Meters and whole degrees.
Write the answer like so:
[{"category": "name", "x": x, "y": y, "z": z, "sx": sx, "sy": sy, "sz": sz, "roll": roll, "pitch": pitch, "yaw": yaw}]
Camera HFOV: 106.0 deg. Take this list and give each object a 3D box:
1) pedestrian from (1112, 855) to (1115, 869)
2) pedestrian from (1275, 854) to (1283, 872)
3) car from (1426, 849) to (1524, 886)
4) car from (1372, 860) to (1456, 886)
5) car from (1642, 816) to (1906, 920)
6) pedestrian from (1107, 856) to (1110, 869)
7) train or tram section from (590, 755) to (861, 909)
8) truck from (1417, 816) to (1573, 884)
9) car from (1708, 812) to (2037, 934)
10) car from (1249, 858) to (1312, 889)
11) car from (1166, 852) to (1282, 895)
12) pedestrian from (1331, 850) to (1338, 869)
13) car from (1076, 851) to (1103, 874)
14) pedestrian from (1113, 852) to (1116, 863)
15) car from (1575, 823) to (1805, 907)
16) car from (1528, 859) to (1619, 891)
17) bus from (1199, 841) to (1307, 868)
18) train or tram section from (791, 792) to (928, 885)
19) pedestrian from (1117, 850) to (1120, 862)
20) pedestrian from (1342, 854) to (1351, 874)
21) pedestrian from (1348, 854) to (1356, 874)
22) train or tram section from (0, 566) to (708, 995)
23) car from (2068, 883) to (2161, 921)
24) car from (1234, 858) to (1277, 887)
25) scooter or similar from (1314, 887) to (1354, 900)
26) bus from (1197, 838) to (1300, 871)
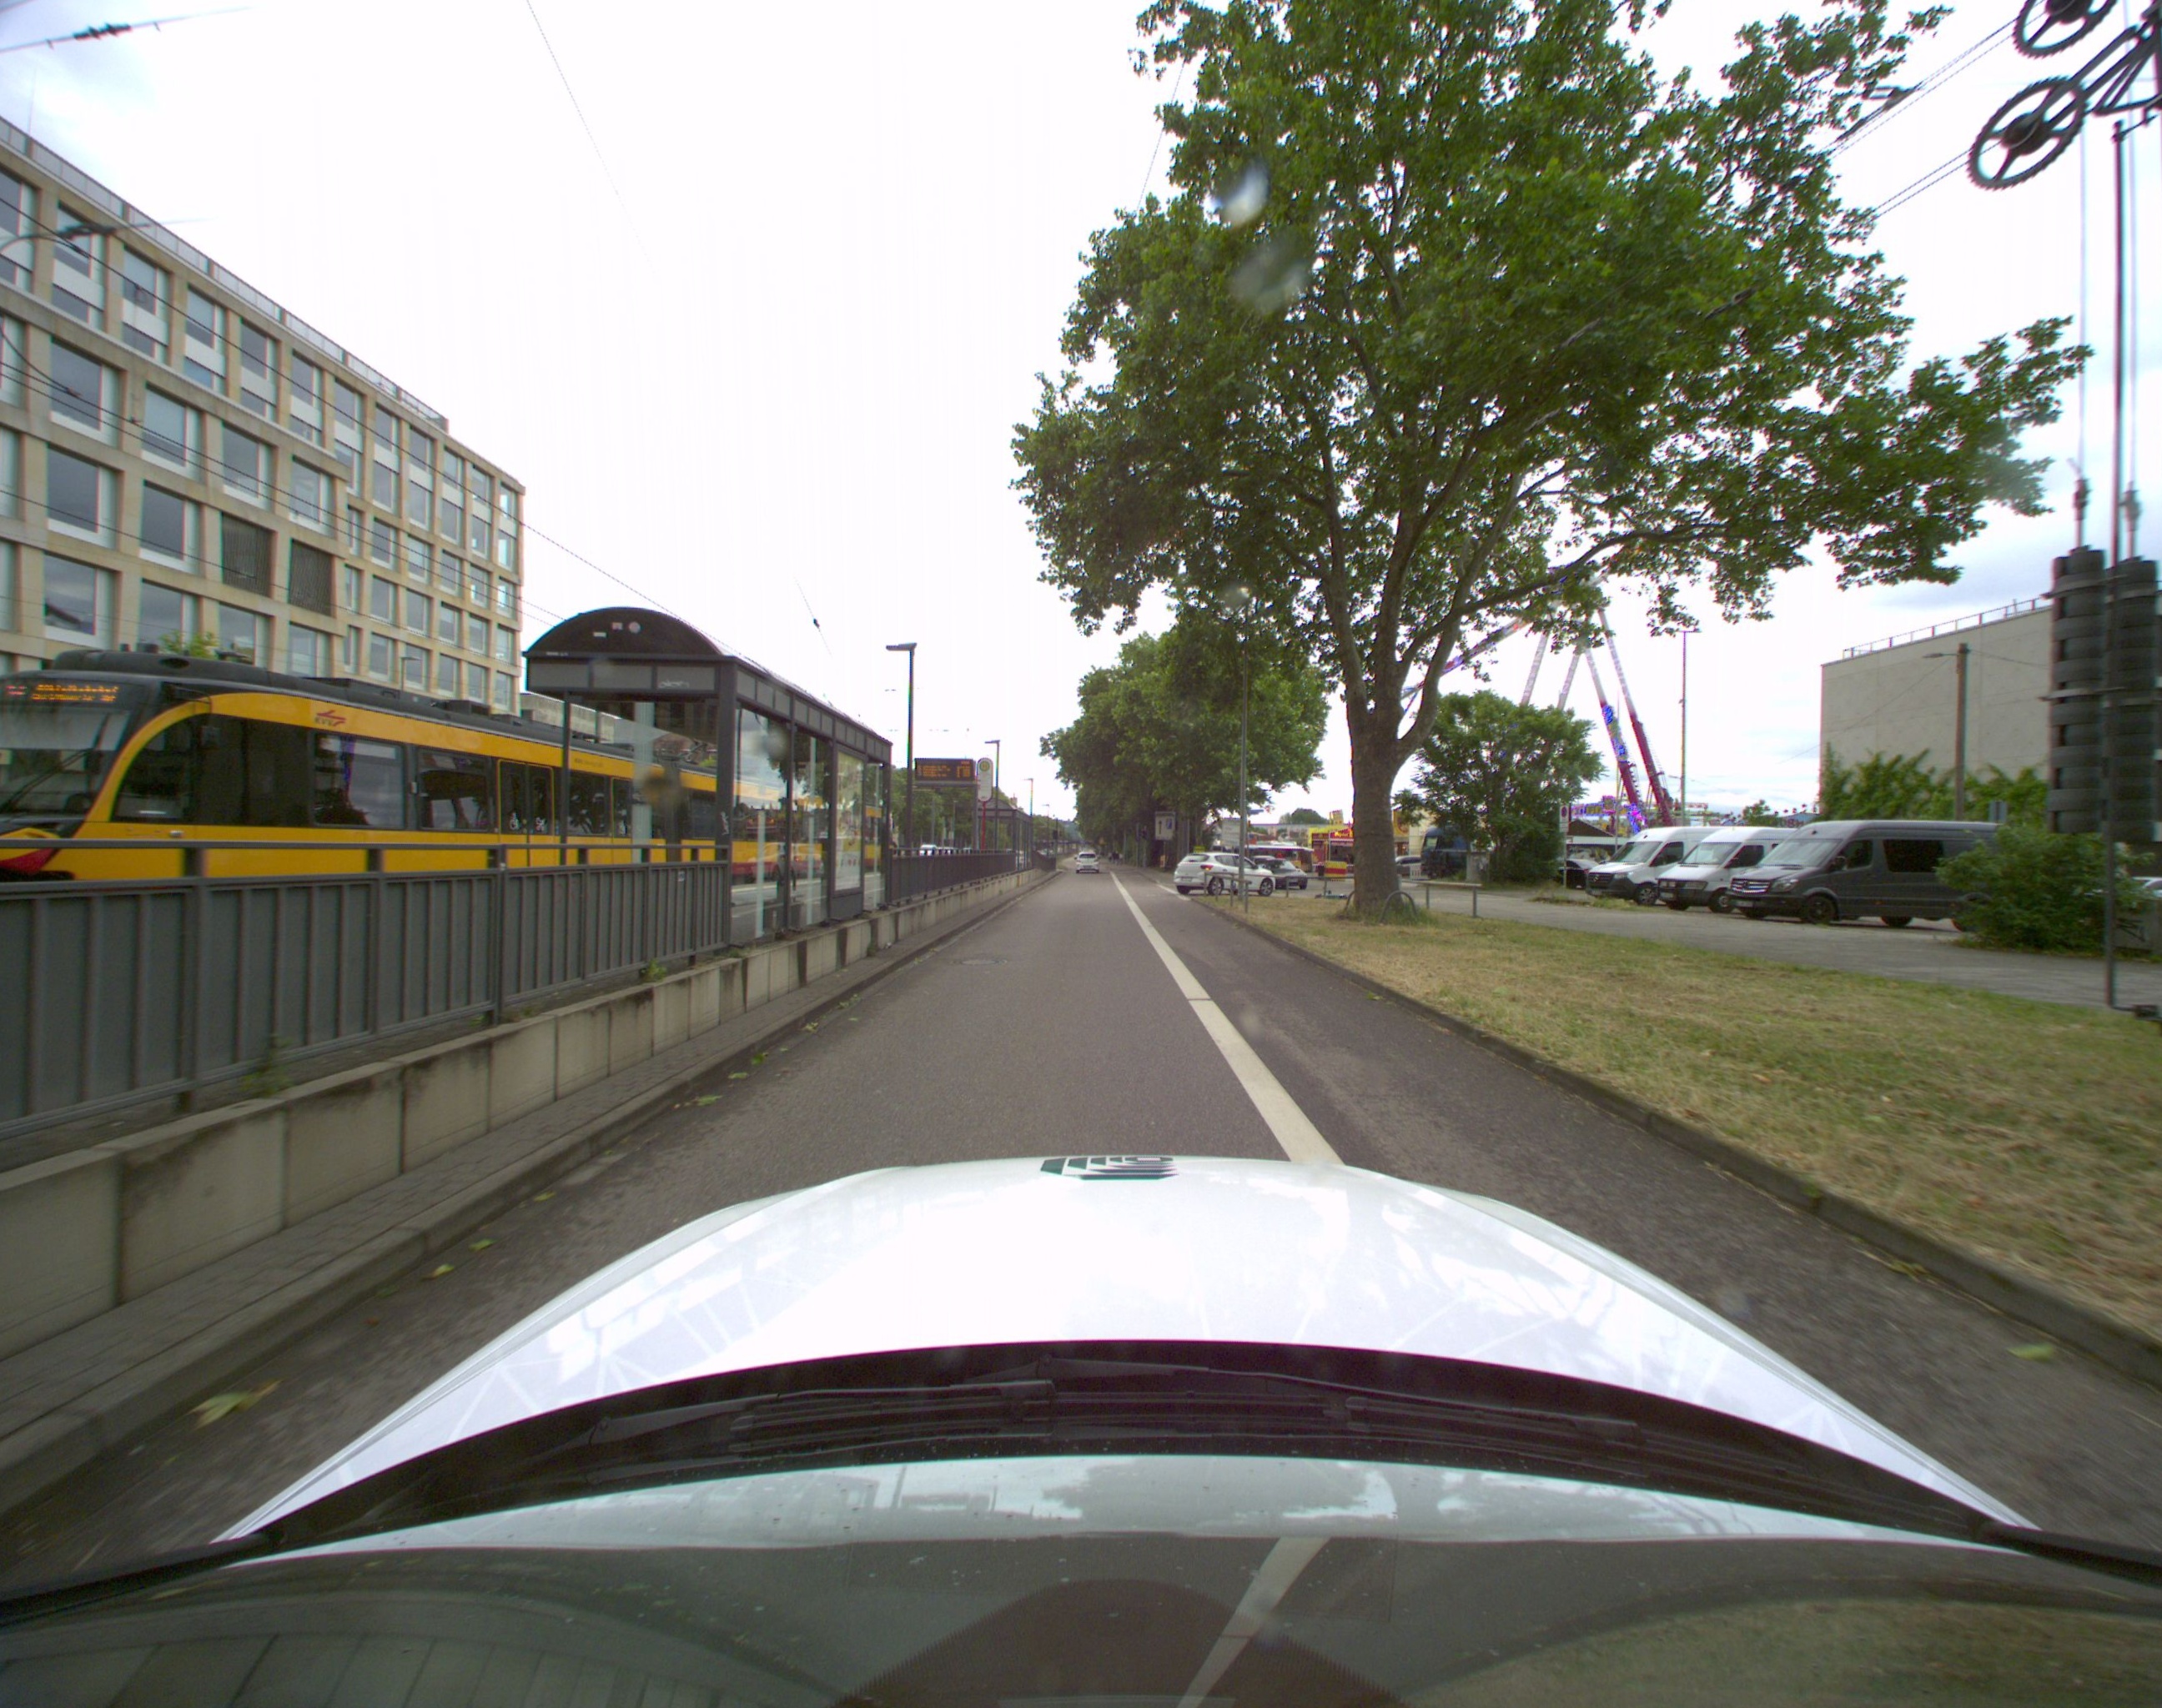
[{"category": "pedestrian", "x": 4.745, "y": 1.203, "z": 118.809, "sx": 0.393, "sy": 2.014, "sz": 0.404, "roll": 1, "pitch": -1, "yaw": 16}, {"category": "pedestrian", "x": 16.229, "y": 0.768, "z": 66.837, "sx": 0.491, "sy": 1.463, "sz": 0.523, "roll": 1, "pitch": -1, "yaw": -2}, {"category": "car", "x": 22.110, "y": 0.751, "z": 45.825, "sx": 4.560, "sy": 2.013, "sz": 1.999, "roll": 0, "pitch": 1, "yaw": -1}, {"category": "car", "x": 21.228, "y": 1.185, "z": 52.013, "sx": 4.560, "sy": 1.575, "sz": 1.999, "roll": 1, "pitch": -1, "yaw": -1}, {"category": "car", "x": 19.549, "y": 0.396, "z": 23.157, "sx": 5.767, "sy": 2.535, "sz": 2.039, "roll": 3, "pitch": -1, "yaw": -1}, {"category": "pedestrian", "x": 3.991, "y": 1.248, "z": 118.917, "sx": 0.393, "sy": 2.014, "sz": 0.404, "roll": 1, "pitch": -1, "yaw": 16}, {"category": "train or tram section", "x": -11.764, "y": -0.551, "z": 29.787, "sx": 3.169, "sy": 4.179, "sz": 14.735, "roll": 1, "pitch": 0, "yaw": 1}, {"category": "truck", "x": 24.770, "y": -0.220, "z": 48.940, "sx": 8.166, "sy": 3.822, "sz": 2.599, "roll": 1, "pitch": -1, "yaw": -1}, {"category": "car", "x": 19.141, "y": 0.430, "z": 19.942, "sx": 5.762, "sy": 2.522, "sz": 2.172, "roll": 3, "pitch": 0, "yaw": 2}, {"category": "car", "x": 9.671, "y": 0.928, "z": 39.786, "sx": 1.859, "sy": 1.430, "sz": 3.995, "roll": 1, "pitch": -1, "yaw": -4}, {"category": "car", "x": 5.191, "y": 0.681, "z": 29.331, "sx": 4.018, "sy": 1.453, "sz": 1.870, "roll": 1, "pitch": -1, "yaw": -37}, {"category": "pedestrian", "x": 22.426, "y": 0.470, "z": 72.045, "sx": 0.491, "sy": 1.687, "sz": 0.523, "roll": 1, "pitch": -1, "yaw": -2}, {"category": "car", "x": 0.627, "y": 0.604, "z": 58.044, "sx": 1.834, "sy": 1.552, "sz": 4.002, "roll": 0, "pitch": 0, "yaw": 2}, {"category": "pedestrian", "x": 4.301, "y": 0.446, "z": 104.675, "sx": 0.394, "sy": 1.444, "sz": 0.563, "roll": 1, "pitch": -1, "yaw": 0}, {"category": "car", "x": 19.672, "y": 0.353, "z": 26.482, "sx": 6.006, "sy": 2.555, "sz": 2.099, "roll": 1, "pitch": -1, "yaw": -2}, {"category": "car", "x": 23.664, "y": 0.965, "z": 39.329, "sx": 1.880, "sy": 1.349, "sz": 3.997, "roll": 3, "pitch": 0, "yaw": -1}, {"category": "bus", "x": 15.387, "y": 0.062, "z": 73.186, "sx": 9.253, "sy": 2.227, "sz": 1.998, "roll": 1, "pitch": -1, "yaw": -2}, {"category": "train or tram section", "x": -11.488, "y": -0.659, "z": 44.527, "sx": 3.169, "sy": 4.179, "sz": 14.735, "roll": 1, "pitch": 0, "yaw": 1}, {"category": "pedestrian", "x": 4.787, "y": 0.286, "z": 104.668, "sx": 0.394, "sy": 1.585, "sz": 0.538, "roll": 1, "pitch": -1, "yaw": -1}, {"category": "pedestrian", "x": 22.410, "y": 0.827, "z": 68.763, "sx": 0.523, "sy": 1.687, "sz": 0.491, "roll": 1, "pitch": -1, "yaw": -16}, {"category": "pedestrian", "x": 23.079, "y": 0.877, "z": 69.352, "sx": 0.523, "sy": 1.687, "sz": 0.491, "roll": 1, "pitch": -1, "yaw": -16}, {"category": "train or tram section", "x": -12.016, "y": -0.672, "z": 15.070, "sx": 3.169, "sy": 4.179, "sz": 14.735, "roll": 1, "pitch": 0, "yaw": 1}, {"category": "car", "x": 43.840, "y": 1.966, "z": 33.685, "sx": 3.977, "sy": 1.453, "sz": 1.889, "roll": 1, "pitch": -1, "yaw": -3}, {"category": "car", "x": 10.150, "y": 1.078, "z": 47.630, "sx": 1.855, "sy": 1.594, "sz": 4.003, "roll": 1, "pitch": -1, "yaw": 3}, {"category": "scooter or similar", "x": 8.682, "y": 1.349, "z": 27.920, "sx": 1.166, "sy": 0.349, "sz": 1.338, "roll": -1, "pitch": 0, "yaw": 25}, {"category": "bus", "x": 15.595, "y": 0.041, "z": 76.232, "sx": 9.253, "sy": 2.960, "sz": 1.998, "roll": 1, "pitch": -1, "yaw": -2}]
